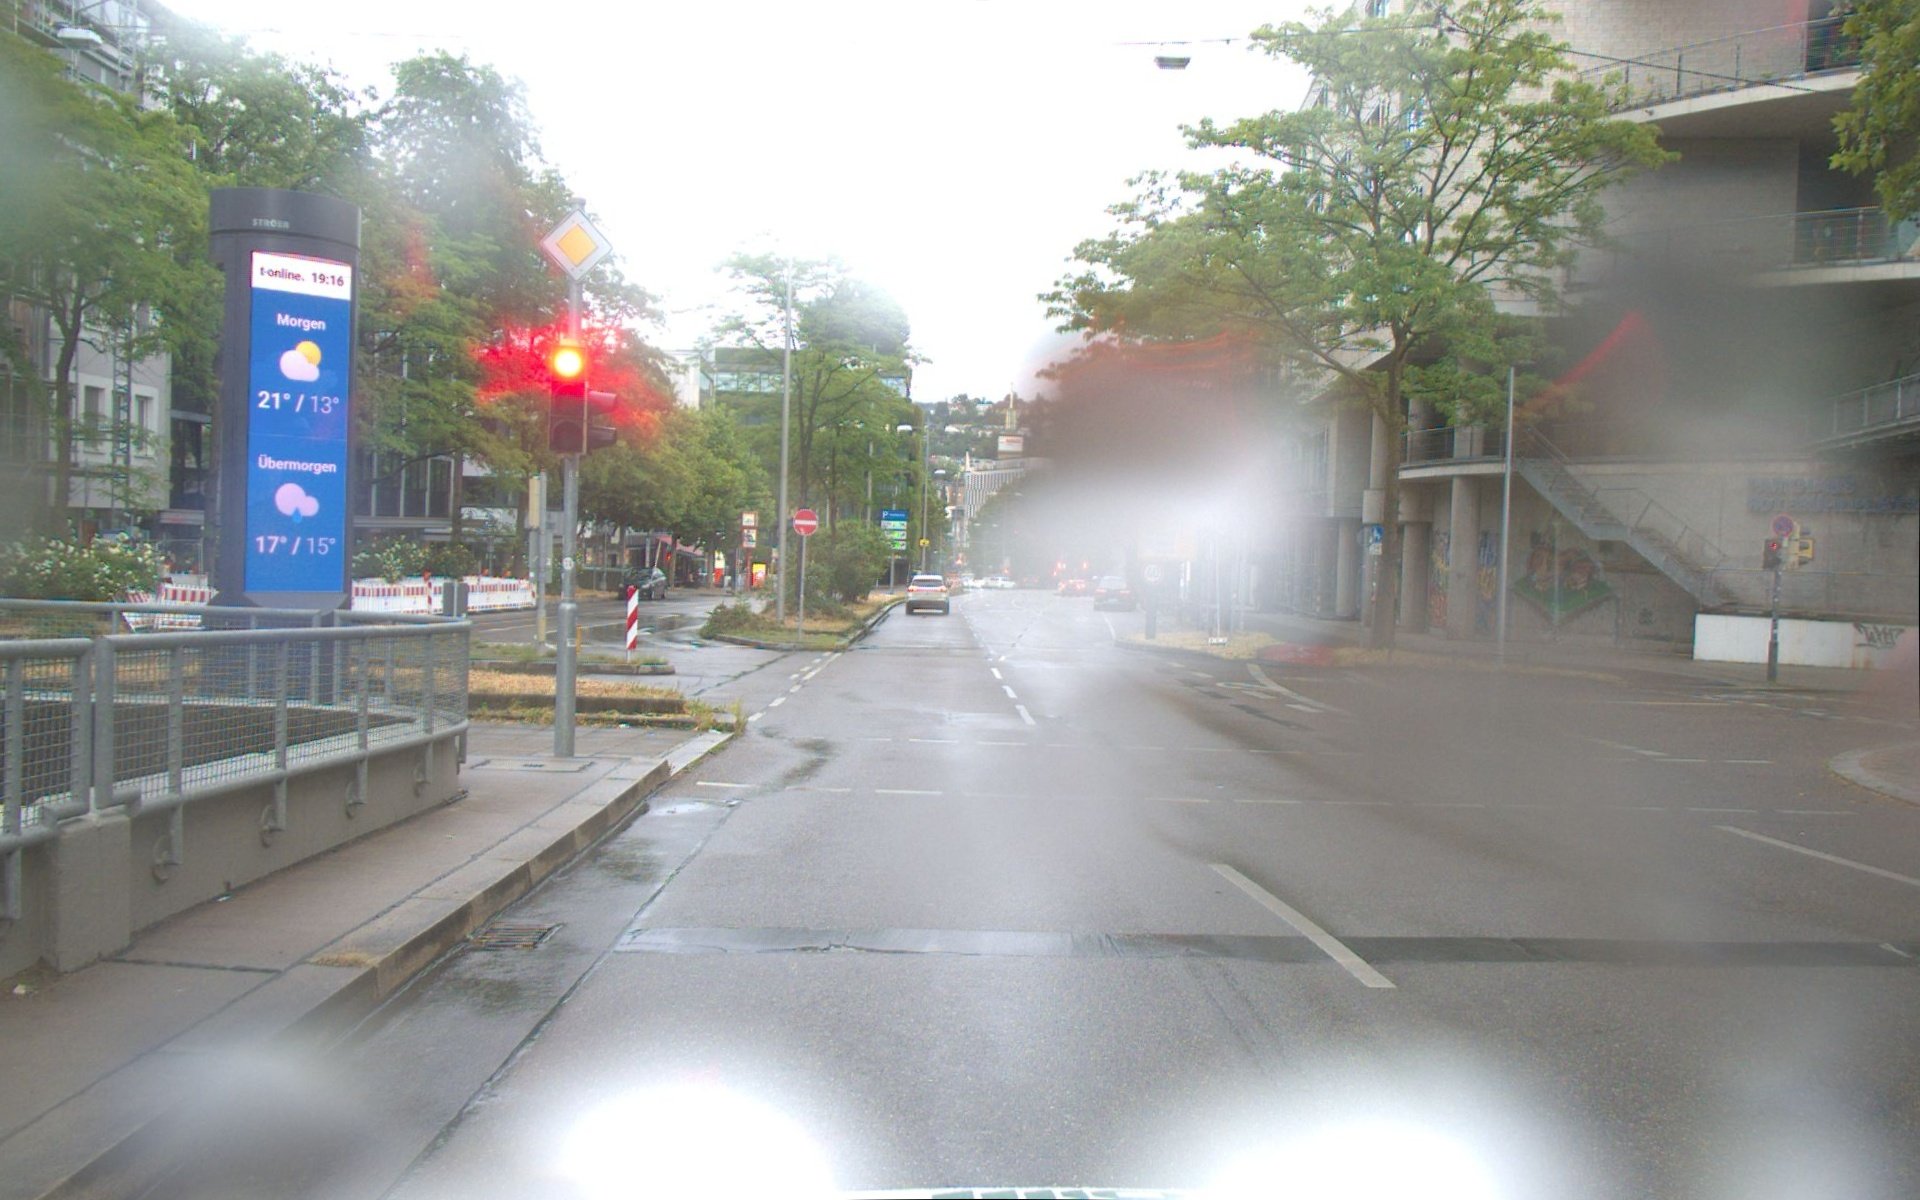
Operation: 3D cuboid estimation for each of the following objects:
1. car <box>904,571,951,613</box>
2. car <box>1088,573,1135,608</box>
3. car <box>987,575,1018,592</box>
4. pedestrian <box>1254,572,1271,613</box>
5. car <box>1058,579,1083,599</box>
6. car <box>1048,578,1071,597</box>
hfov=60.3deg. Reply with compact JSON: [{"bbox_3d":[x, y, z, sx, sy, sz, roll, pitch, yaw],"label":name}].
[{"bbox_3d":[-1.401,-0.358,70.754,1.792,1.668,4.298,2,0,-3],"label":"car"},{"bbox_3d":[7.673,-0.499,83.540,2.288,1.720,4.003,1,1,6],"label":"car"},{"bbox_3d":[5.027,-1.987,196.441,1.957,1.789,3.992,2,0,30],"label":"car"},{"bbox_3d":[14.797,-0.358,80.978,0.759,1.954,0.703,1,-1,9],"label":"pedestrian"},{"bbox_3d":[10.337,-1.002,155.493,1.953,1.754,3.999,1,0,-2],"label":"car"},{"bbox_3d":[10.042,-1.251,166.964,1.953,1.766,3.999,1,0,-1],"label":"car"}]
